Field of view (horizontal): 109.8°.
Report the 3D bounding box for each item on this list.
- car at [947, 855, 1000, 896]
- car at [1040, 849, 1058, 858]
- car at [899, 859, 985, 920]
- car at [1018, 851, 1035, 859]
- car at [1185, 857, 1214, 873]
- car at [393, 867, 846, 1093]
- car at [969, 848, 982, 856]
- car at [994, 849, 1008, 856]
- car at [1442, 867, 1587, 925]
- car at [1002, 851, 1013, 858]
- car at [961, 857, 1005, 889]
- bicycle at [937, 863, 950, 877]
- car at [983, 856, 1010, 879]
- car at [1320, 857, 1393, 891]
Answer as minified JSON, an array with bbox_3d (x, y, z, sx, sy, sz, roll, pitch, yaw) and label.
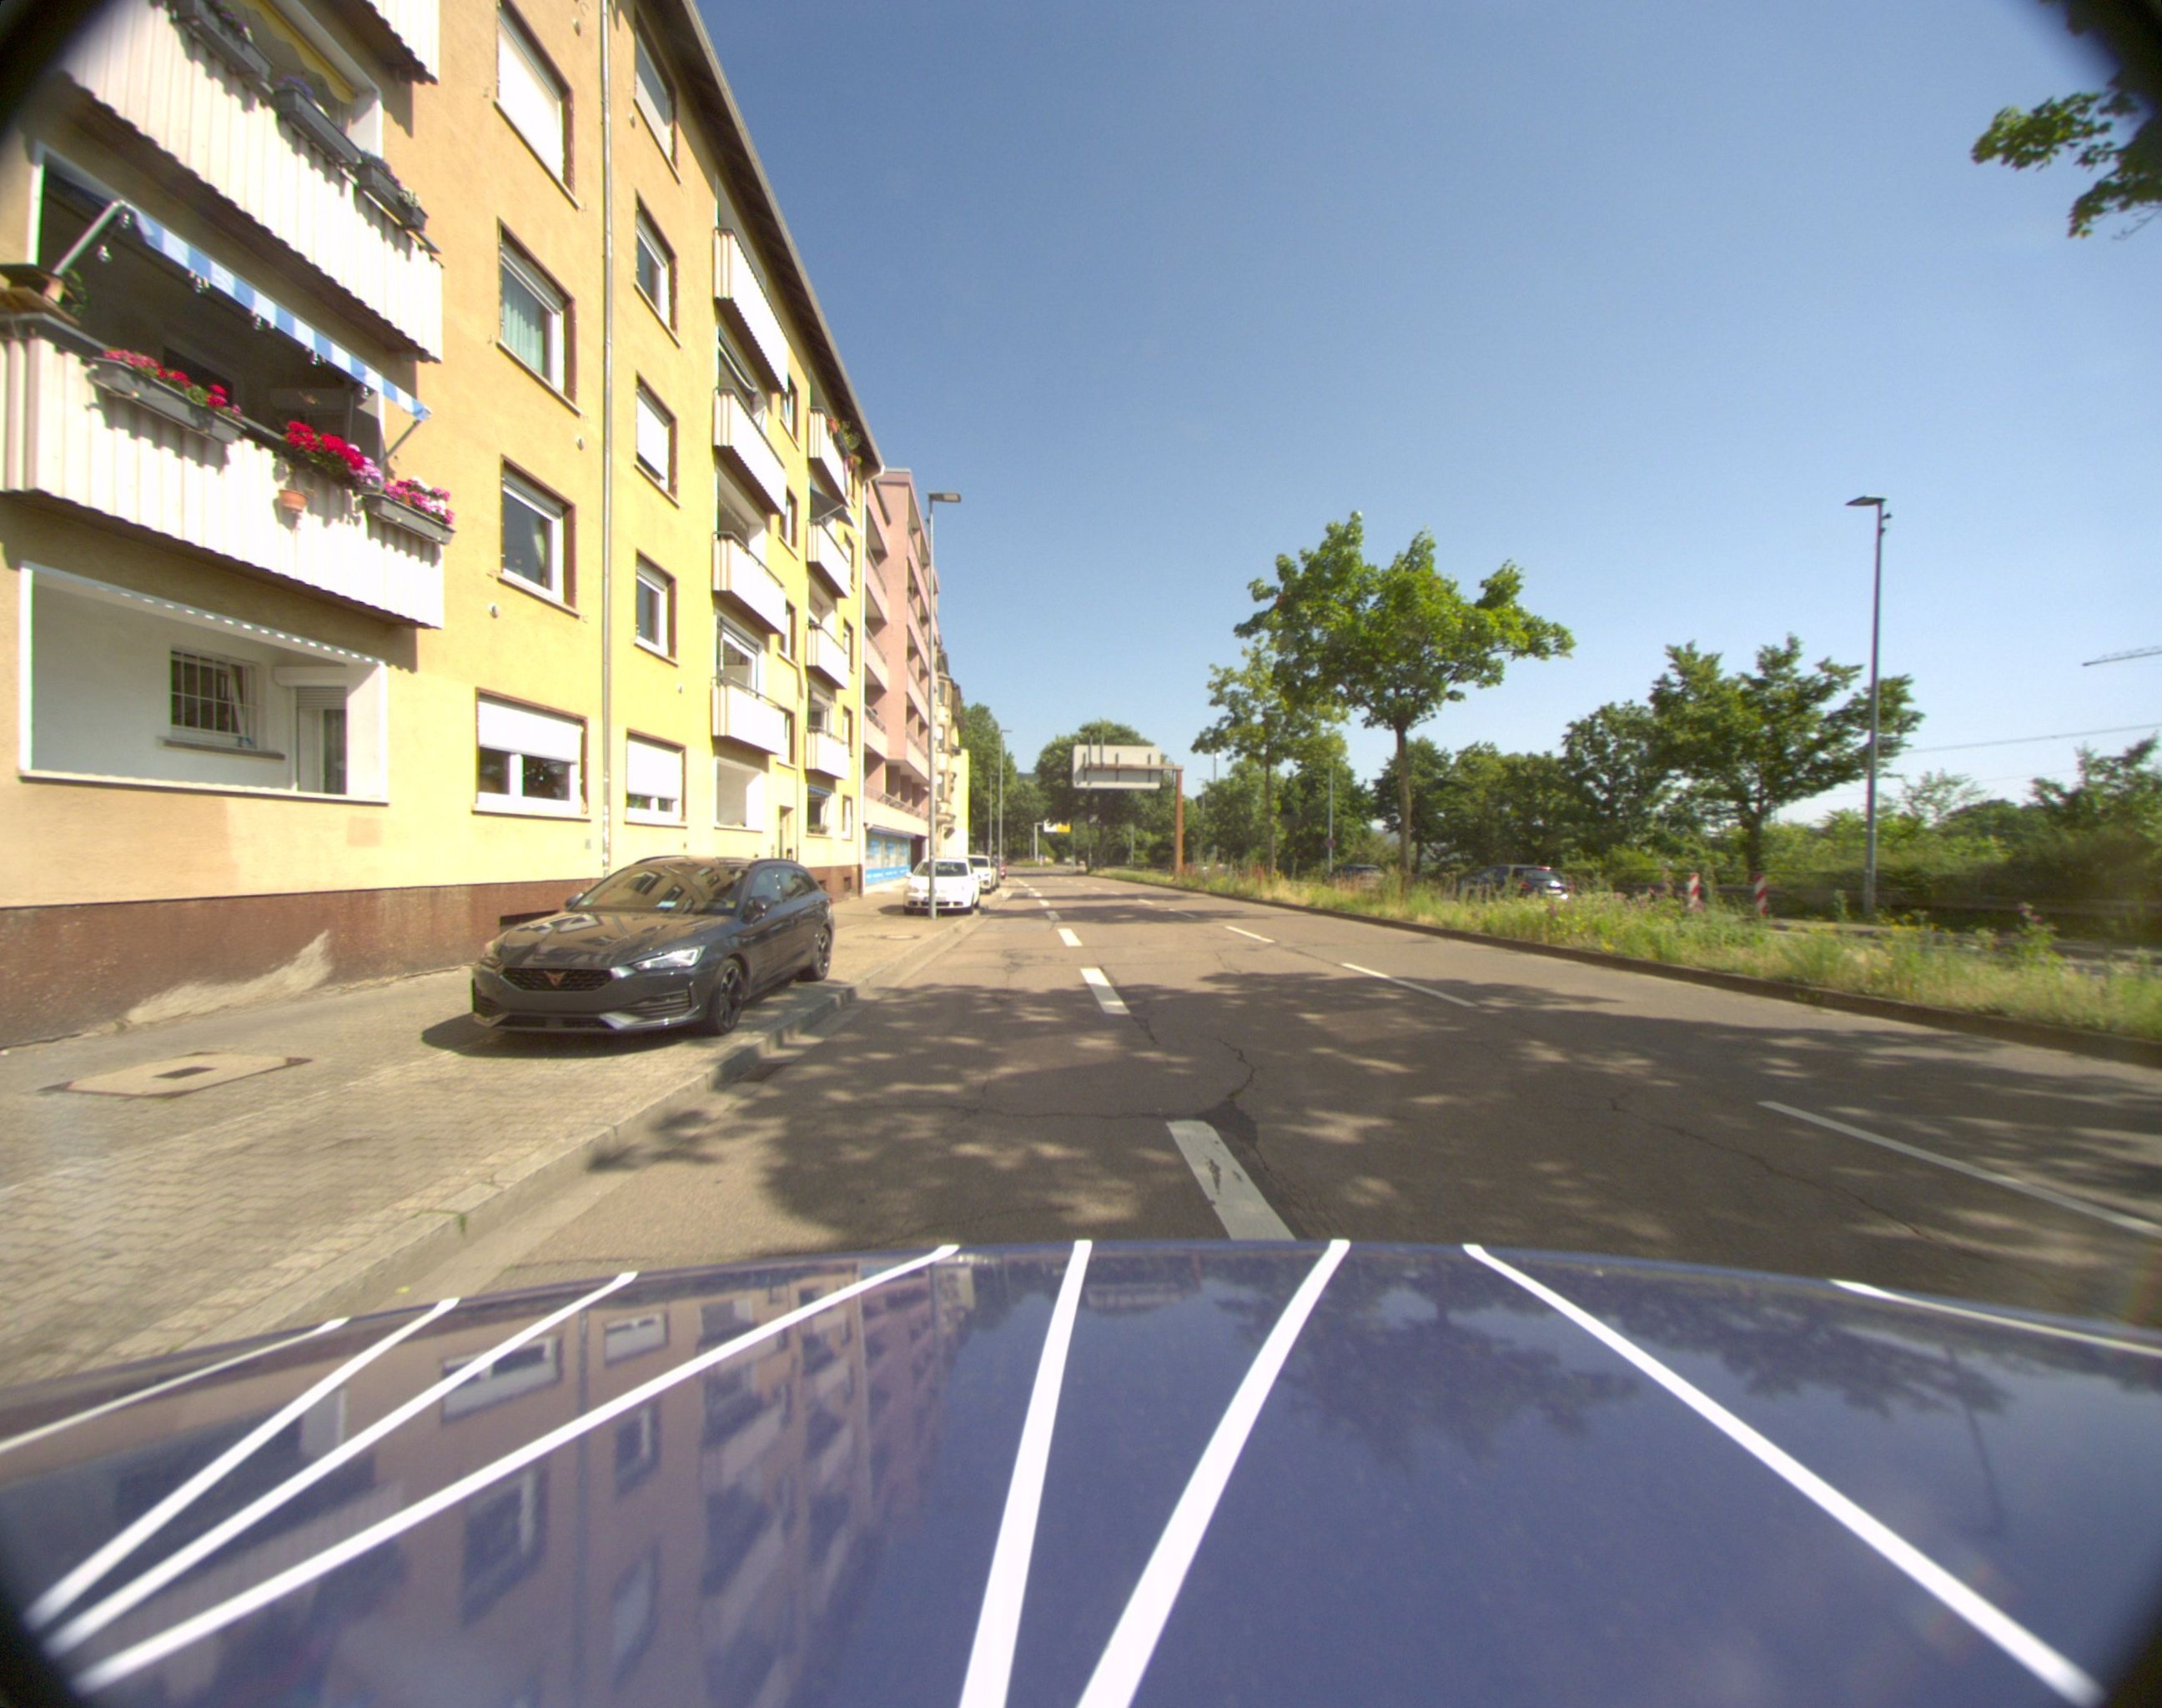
[{"bbox_3d":[-4.339,0.809,31.233,1.741,1.532,4.352,1,0,-3],"label":"car"},{"bbox_3d":[-6.143,-0.141,145.071,2.002,1.519,4.689,2,0,-20],"label":"car"},{"bbox_3d":[-3.676,0.888,20.755,1.761,1.497,4.126,1,0,-3],"label":"car"},{"bbox_3d":[-11.303,0.227,157.563,2.003,1.403,4.605,2,0,-24],"label":"car"},{"bbox_3d":[10.543,0.979,67.781,1.650,1.408,3.968,0,0,-6],"label":"car"},{"bbox_3d":[-3.798,0.889,7.396,1.805,1.429,4.588,1,0,-3],"label":"car"},{"bbox_3d":[-24.780,-0.549,178.134,2.002,1.880,3.992,0,0,-21],"label":"car"},{"bbox_3d":[-17.254,-0.371,163.852,1.872,1.444,4.196,2,0,-22],"label":"car"},{"bbox_3d":[12.470,1.158,22.191,1.768,1.465,4.083,1,0,-3],"label":"car"},{"bbox_3d":[-16.579,0.108,171.479,1.648,1.492,3.642,1,0,-22],"label":"car"},{"bbox_3d":[-4.594,0.869,35.958,1.683,1.400,3.430,2,0,-2],"label":"car"},{"bbox_3d":[-9.549,1.100,52.790,0.652,0.964,1.863,1,0,-5],"label":"bicycle"},{"bbox_3d":[-5.984,0.924,53.753,1.790,1.473,3.997,1,0,-6],"label":"car"},{"bbox_3d":[13.238,0.916,36.749,1.803,1.521,3.998,0,0,-5],"label":"car"}]
